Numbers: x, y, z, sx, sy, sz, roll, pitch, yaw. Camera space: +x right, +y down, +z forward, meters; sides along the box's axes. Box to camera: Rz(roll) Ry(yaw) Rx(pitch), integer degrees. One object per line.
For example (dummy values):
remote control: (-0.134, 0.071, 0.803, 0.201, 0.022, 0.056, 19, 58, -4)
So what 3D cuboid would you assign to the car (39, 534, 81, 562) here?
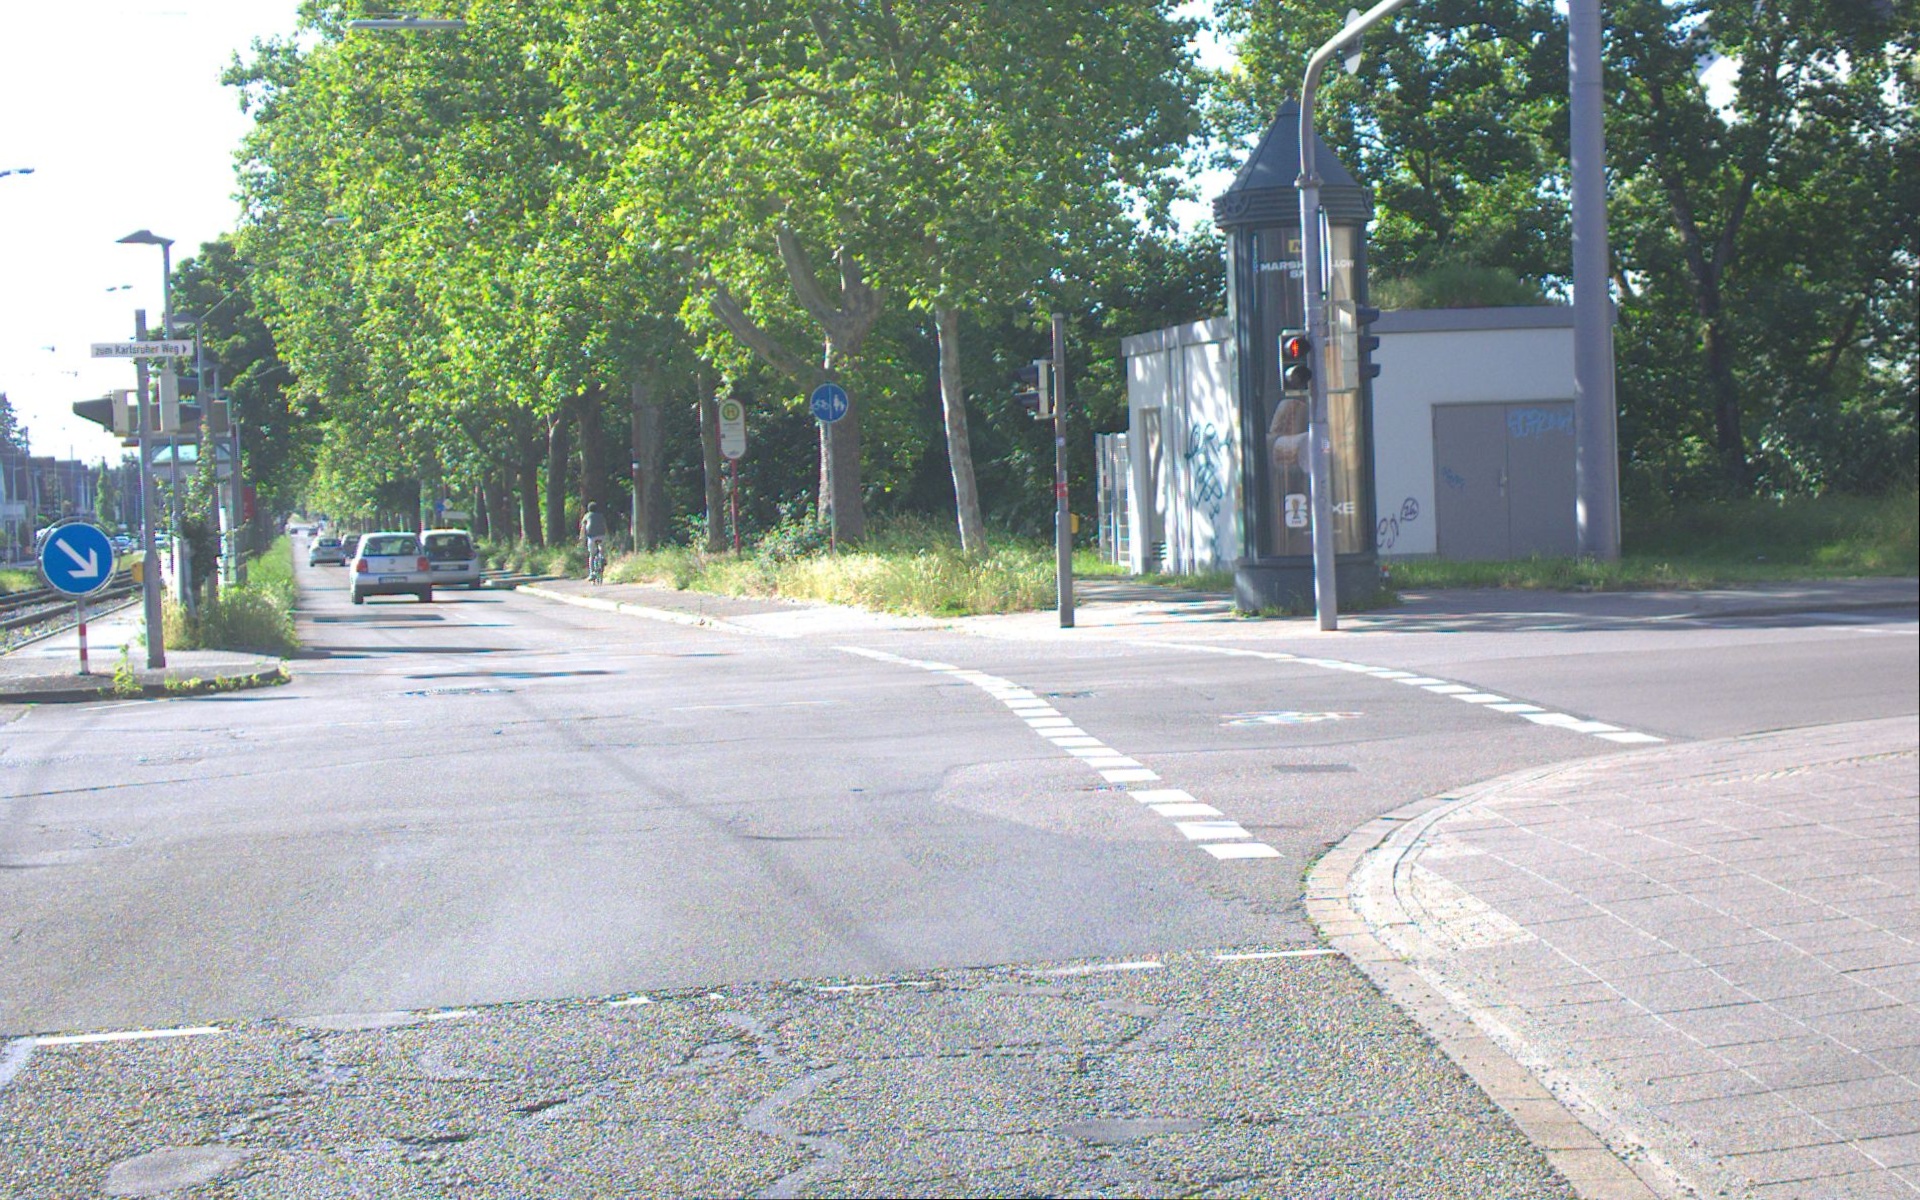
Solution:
car: (-49.285, -2.863, 188.291, 1.993, 1.464, 4.378, -2, 1, -12)

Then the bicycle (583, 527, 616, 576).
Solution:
bicycle: (-8.038, -1.083, 76.618, 0.536, 1.062, 1.434, -3, 2, -13)

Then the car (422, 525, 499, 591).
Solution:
car: (-12.763, -1.091, 87.639, 1.750, 1.599, 3.751, -1, 1, -11)

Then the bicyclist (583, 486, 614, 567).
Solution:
bicyclist: (-8.051, -1.636, 76.516, 0.534, 1.763, 0.713, -3, 1, -13)

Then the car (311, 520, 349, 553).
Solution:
car: (-32.525, -3.295, 177.504, 1.750, 1.599, 3.582, -3, 2, -12)

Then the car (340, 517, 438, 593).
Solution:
car: (-11.782, -0.934, 70.803, 1.867, 1.481, 3.556, -2, 1, -11)
